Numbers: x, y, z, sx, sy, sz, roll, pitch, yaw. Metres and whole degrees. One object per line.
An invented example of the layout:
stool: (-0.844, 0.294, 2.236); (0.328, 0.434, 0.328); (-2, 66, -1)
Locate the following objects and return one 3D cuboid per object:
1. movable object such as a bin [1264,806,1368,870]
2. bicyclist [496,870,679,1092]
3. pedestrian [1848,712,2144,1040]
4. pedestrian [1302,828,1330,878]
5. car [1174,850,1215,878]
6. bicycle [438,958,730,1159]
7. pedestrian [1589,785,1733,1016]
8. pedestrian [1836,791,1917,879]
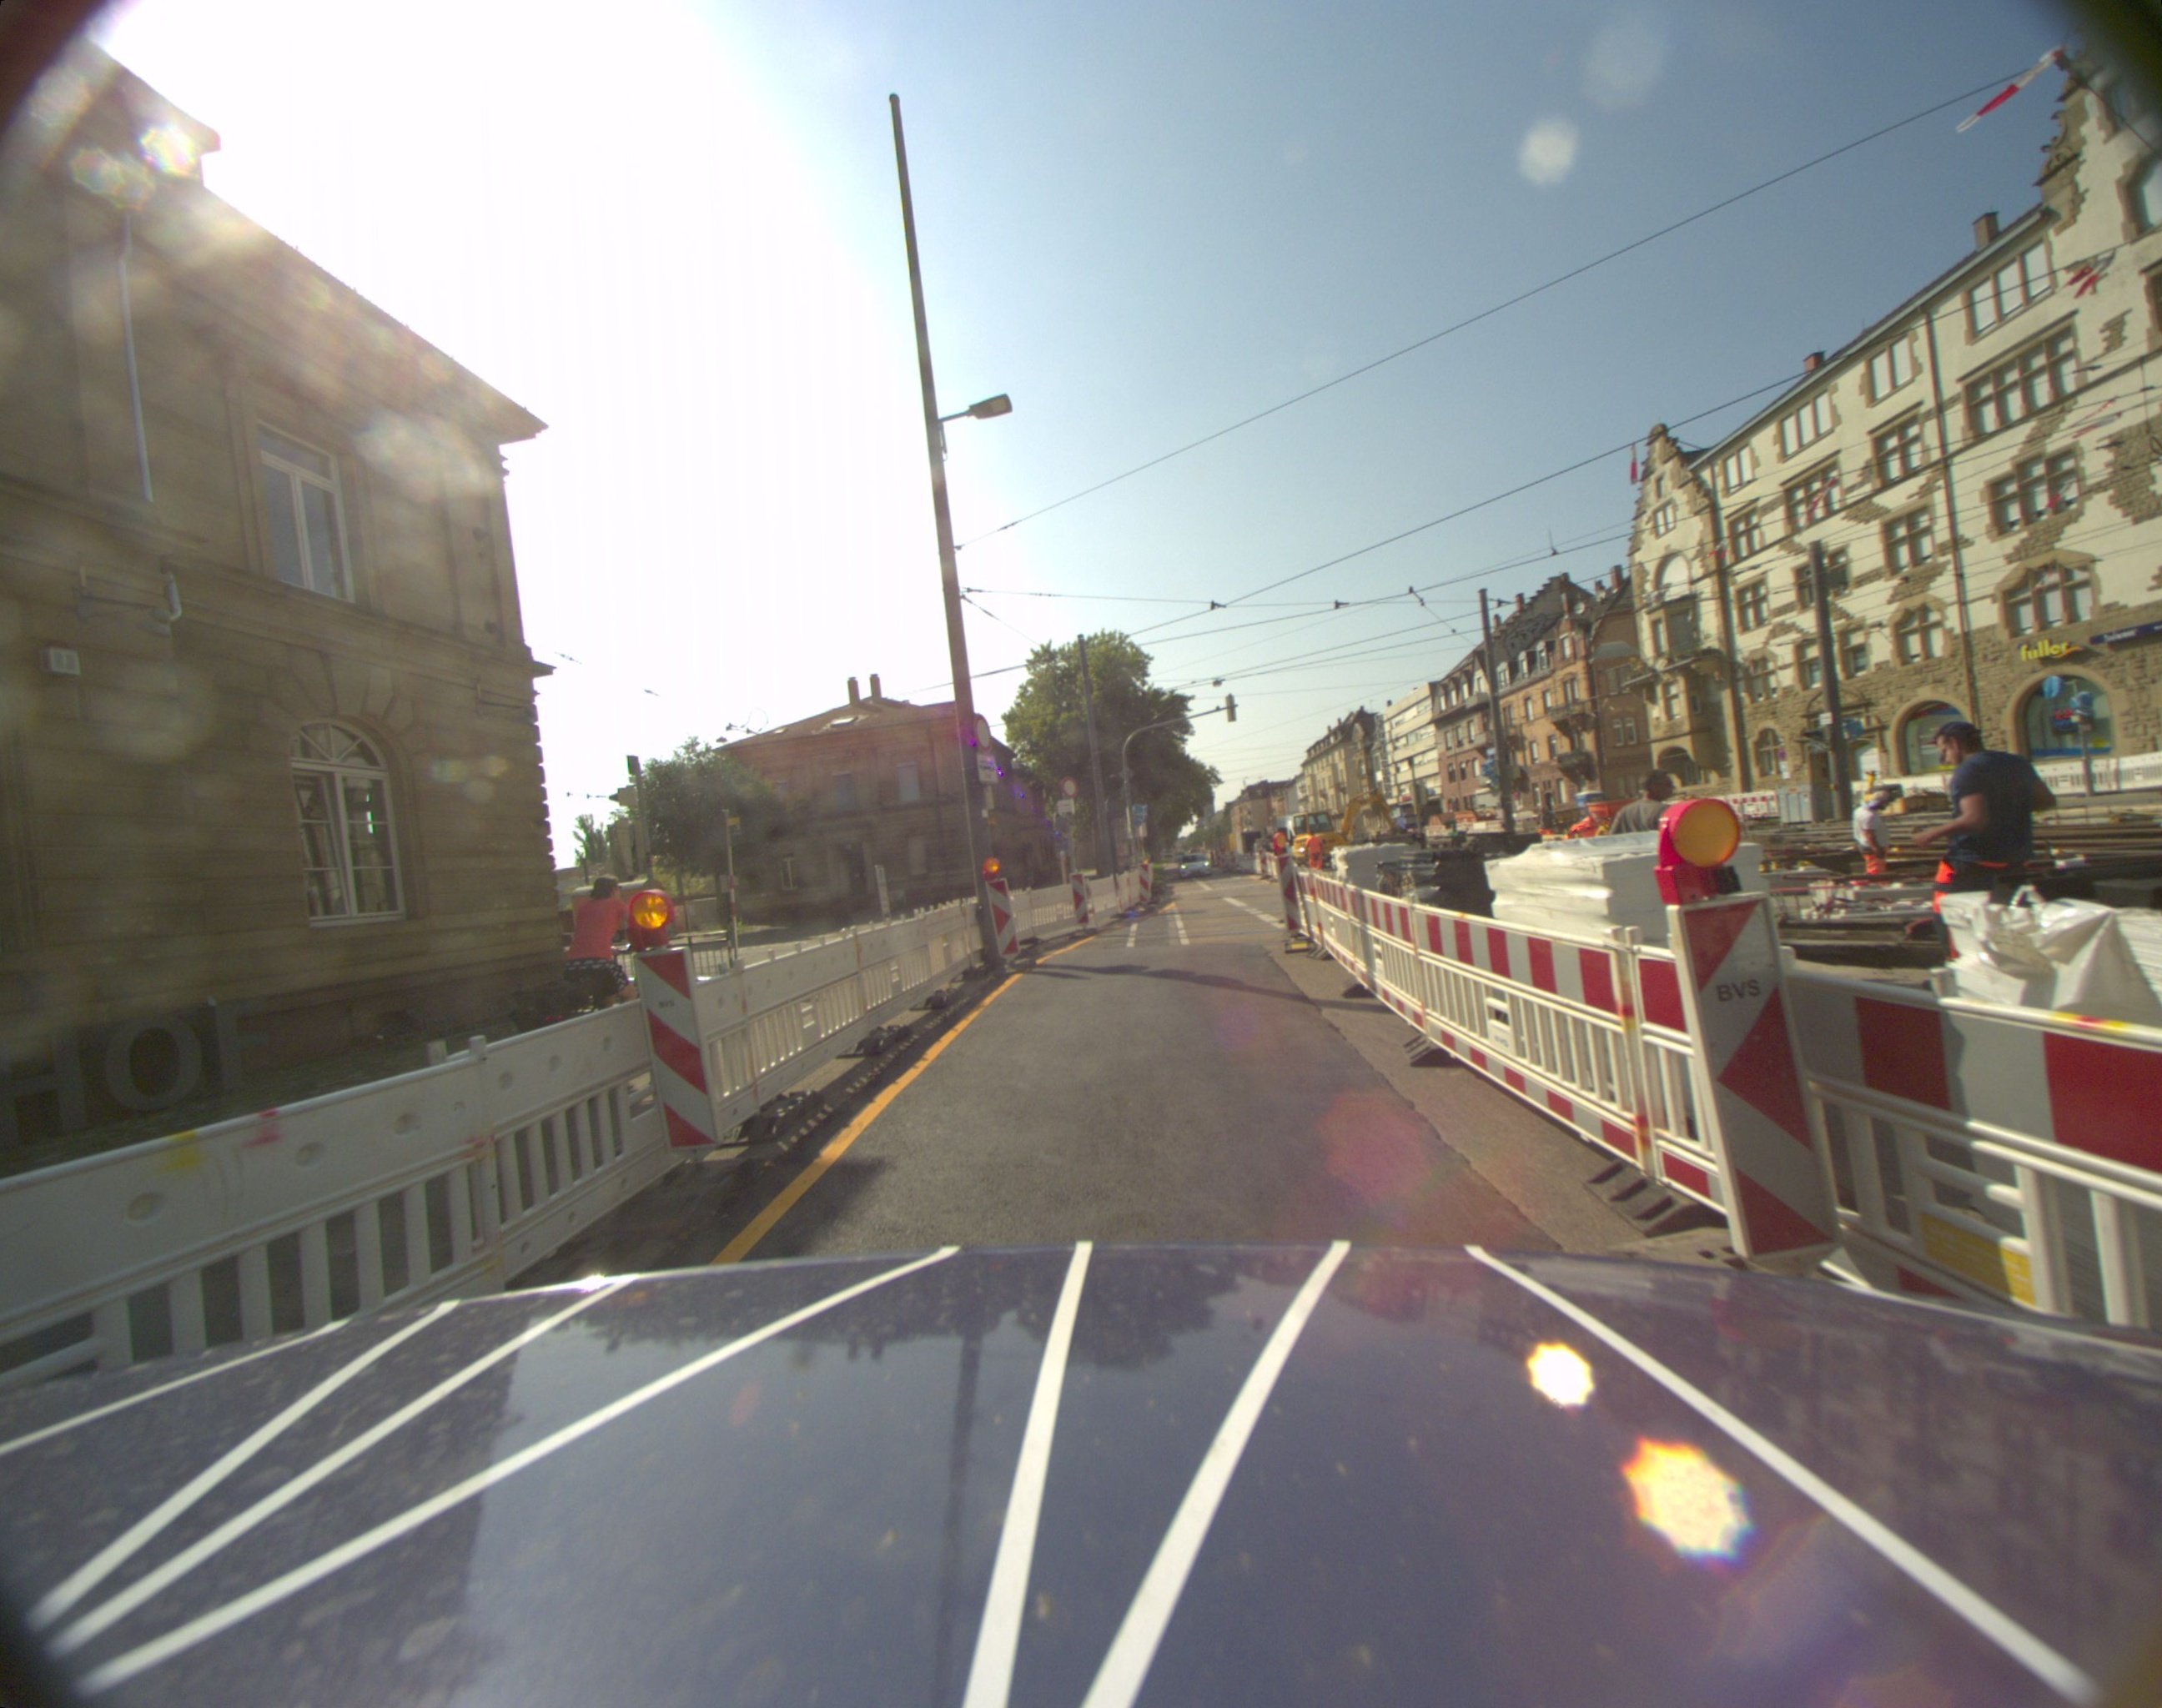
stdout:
movable object such as a bin: (9.945, -0.682, 32.433); (3.172, 2.395, 2.916); (-4, 2, -10)
bicyclist: (-3.995, 0.981, 6.221); (0.736, 1.616, 0.853); (-6, 0, 6)
pedestrian: (5.773, 0.115, 4.832); (0.921, 1.830, 0.801); (-6, 0, -17)
pedestrian: (8.675, -0.035, 28.098); (0.701, 1.729, 0.913); (-6, 0, 9)
car: (6.882, 0.580, 46.540); (1.998, 1.387, 4.001); (-6, 0, 3)
bicycle: (-3.921, 1.562, 6.299); (0.743, 1.026, 2.133); (-6, 0, 6)
pedestrian: (4.714, 0.367, 6.192); (0.466, 1.764, 0.718); (-6, 0, -42)
pedestrian: (11.985, -0.278, 11.455); (0.548, 1.239, 0.547); (-6, 0, -11)
